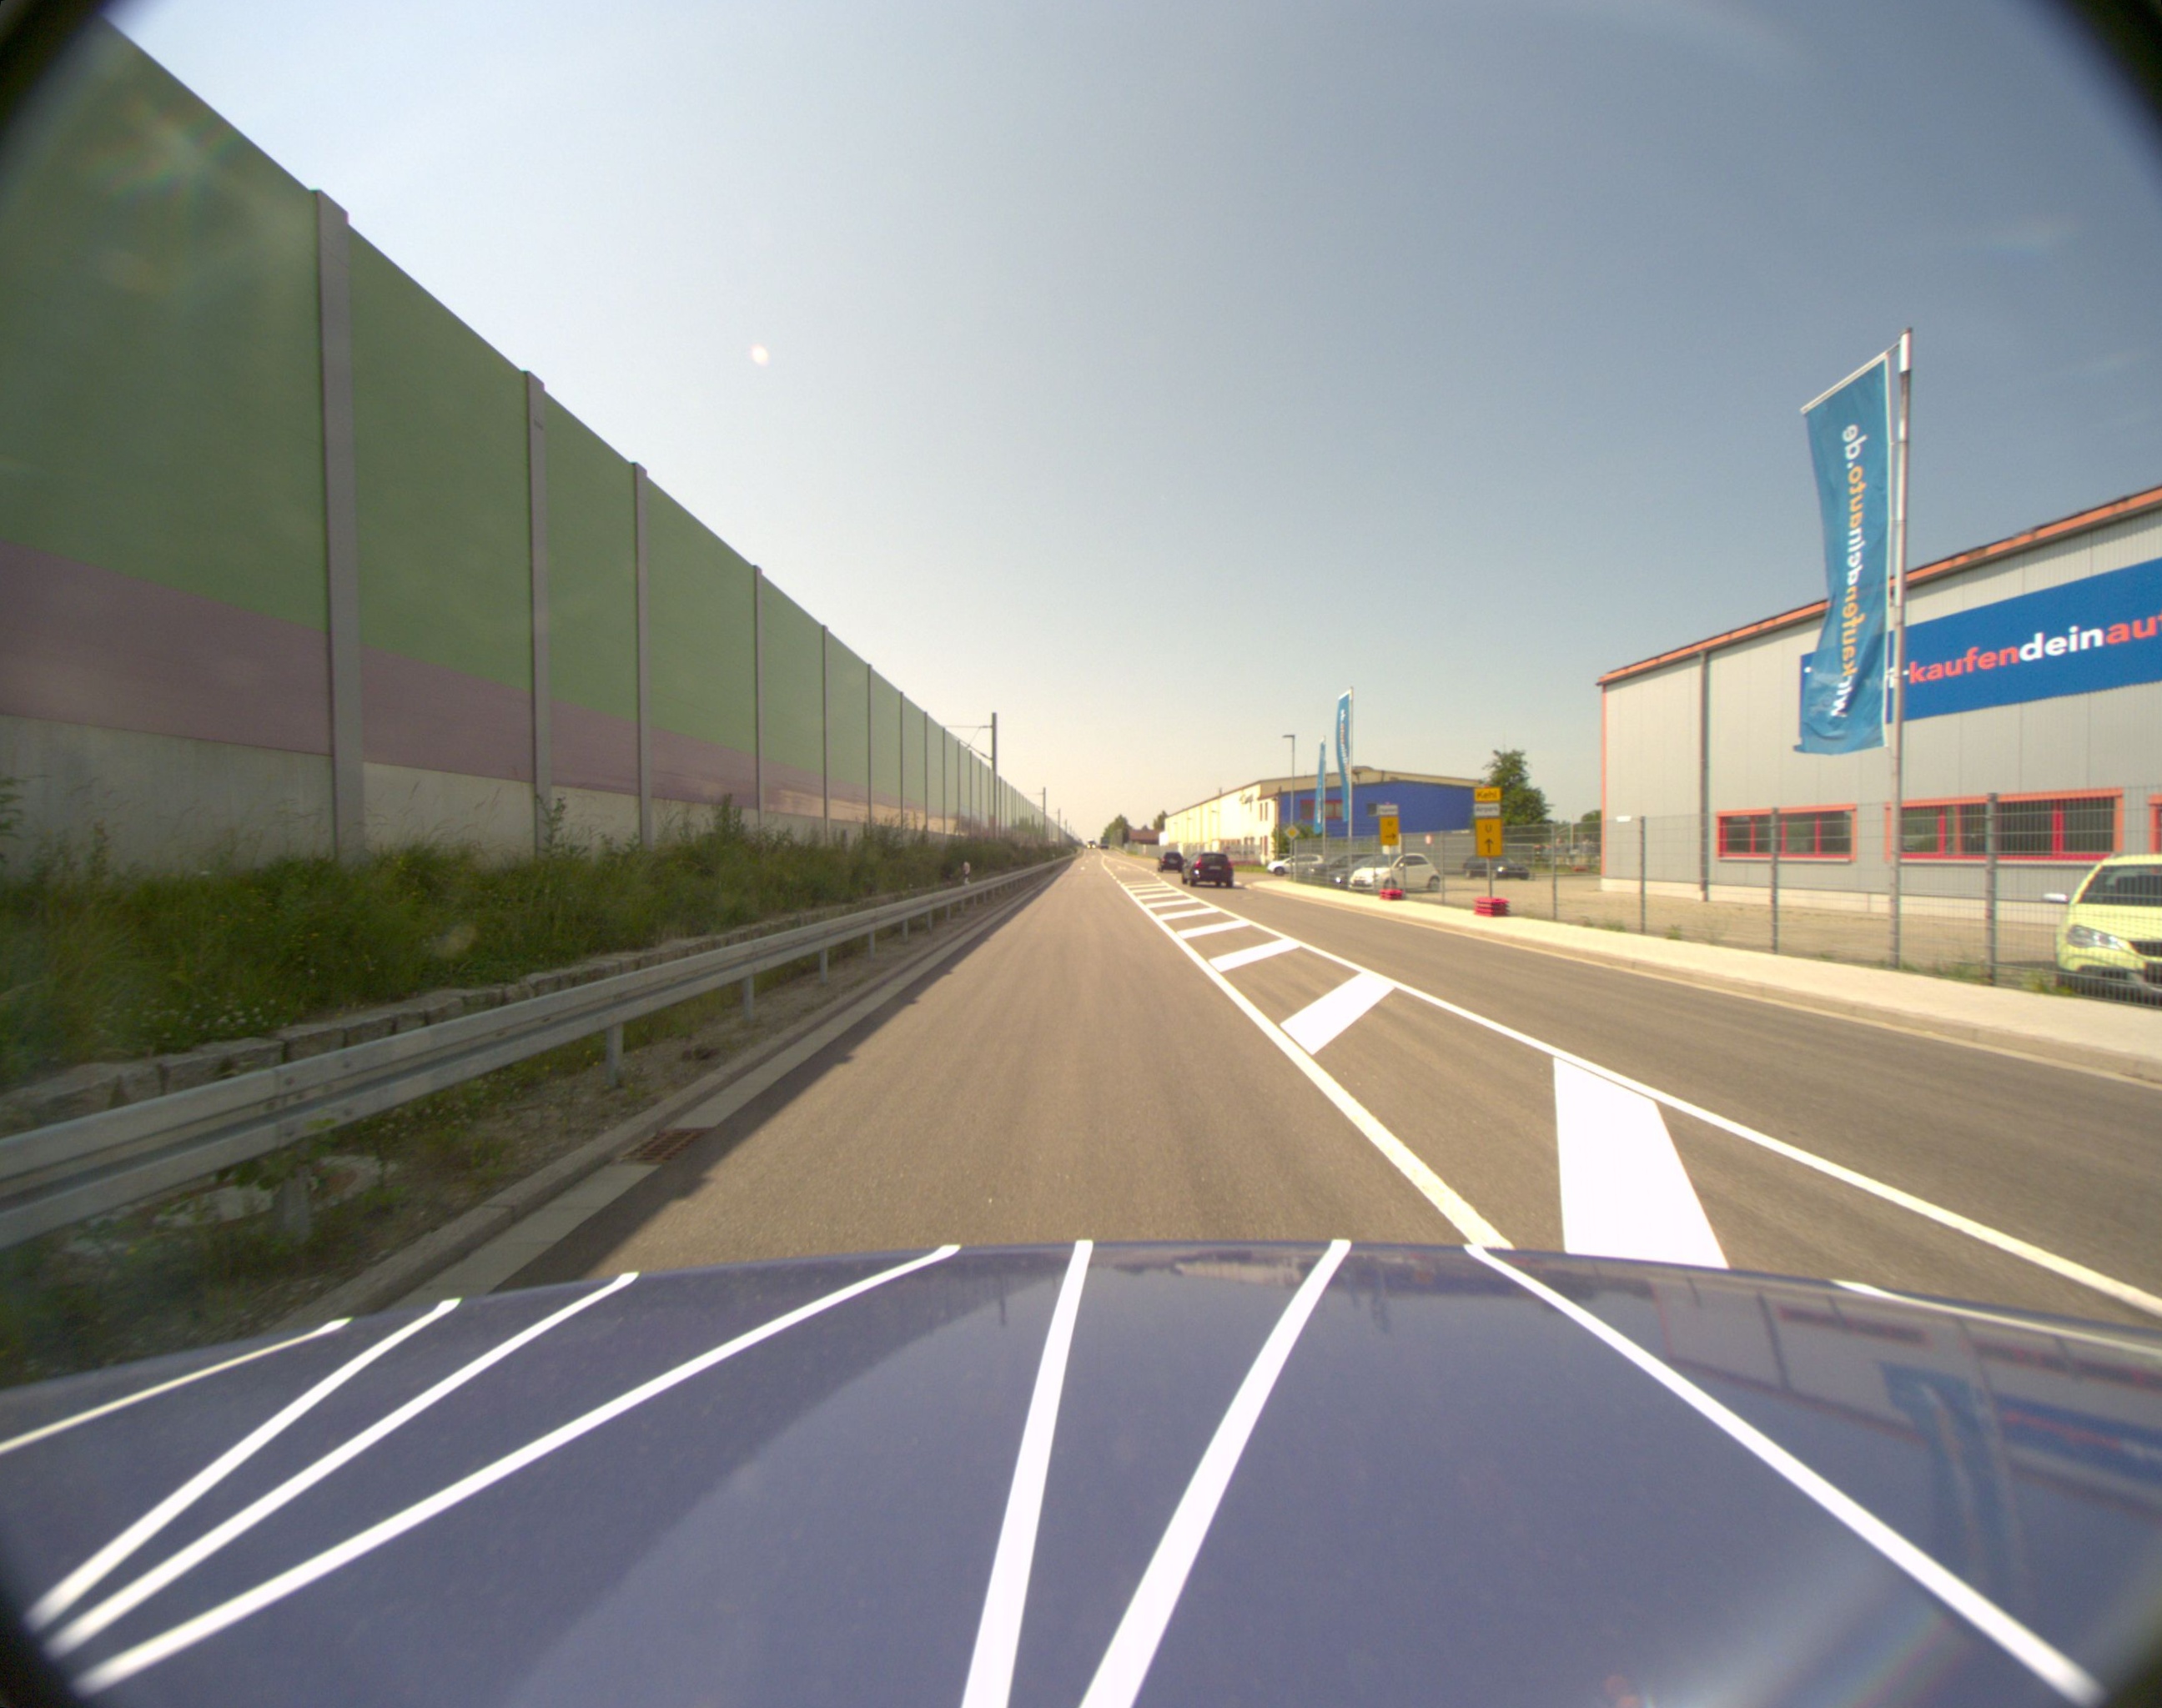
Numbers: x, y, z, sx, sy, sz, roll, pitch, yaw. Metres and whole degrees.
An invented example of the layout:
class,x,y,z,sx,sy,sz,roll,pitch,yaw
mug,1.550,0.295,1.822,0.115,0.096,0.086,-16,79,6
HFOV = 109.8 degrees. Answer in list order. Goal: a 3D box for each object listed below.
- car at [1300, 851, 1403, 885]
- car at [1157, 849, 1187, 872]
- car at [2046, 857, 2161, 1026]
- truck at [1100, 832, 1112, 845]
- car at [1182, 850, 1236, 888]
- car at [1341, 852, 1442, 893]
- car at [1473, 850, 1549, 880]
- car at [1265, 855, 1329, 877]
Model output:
class,x,y,z,sx,sy,sz,roll,pitch,yaw
car,12.210,0.623,34.446,3.998,1.494,1.774,0,0,-3
car,6.690,0.437,56.219,1.746,1.584,3.796,2,1,1
car,11.654,0.800,7.896,4.101,1.485,1.739,-1,1,-35
truck,7.441,-4.603,229.797,3.563,3.855,11.415,0,0,2
car,5.928,0.639,35.664,1.886,1.607,4.522,2,1,2
car,11.677,0.656,28.578,3.491,1.456,1.587,-1,1,-25
car,22.965,0.567,40.781,1.774,1.493,4.000,0,0,0
car,14.948,0.798,52.534,4.153,1.493,1.778,0,0,19
